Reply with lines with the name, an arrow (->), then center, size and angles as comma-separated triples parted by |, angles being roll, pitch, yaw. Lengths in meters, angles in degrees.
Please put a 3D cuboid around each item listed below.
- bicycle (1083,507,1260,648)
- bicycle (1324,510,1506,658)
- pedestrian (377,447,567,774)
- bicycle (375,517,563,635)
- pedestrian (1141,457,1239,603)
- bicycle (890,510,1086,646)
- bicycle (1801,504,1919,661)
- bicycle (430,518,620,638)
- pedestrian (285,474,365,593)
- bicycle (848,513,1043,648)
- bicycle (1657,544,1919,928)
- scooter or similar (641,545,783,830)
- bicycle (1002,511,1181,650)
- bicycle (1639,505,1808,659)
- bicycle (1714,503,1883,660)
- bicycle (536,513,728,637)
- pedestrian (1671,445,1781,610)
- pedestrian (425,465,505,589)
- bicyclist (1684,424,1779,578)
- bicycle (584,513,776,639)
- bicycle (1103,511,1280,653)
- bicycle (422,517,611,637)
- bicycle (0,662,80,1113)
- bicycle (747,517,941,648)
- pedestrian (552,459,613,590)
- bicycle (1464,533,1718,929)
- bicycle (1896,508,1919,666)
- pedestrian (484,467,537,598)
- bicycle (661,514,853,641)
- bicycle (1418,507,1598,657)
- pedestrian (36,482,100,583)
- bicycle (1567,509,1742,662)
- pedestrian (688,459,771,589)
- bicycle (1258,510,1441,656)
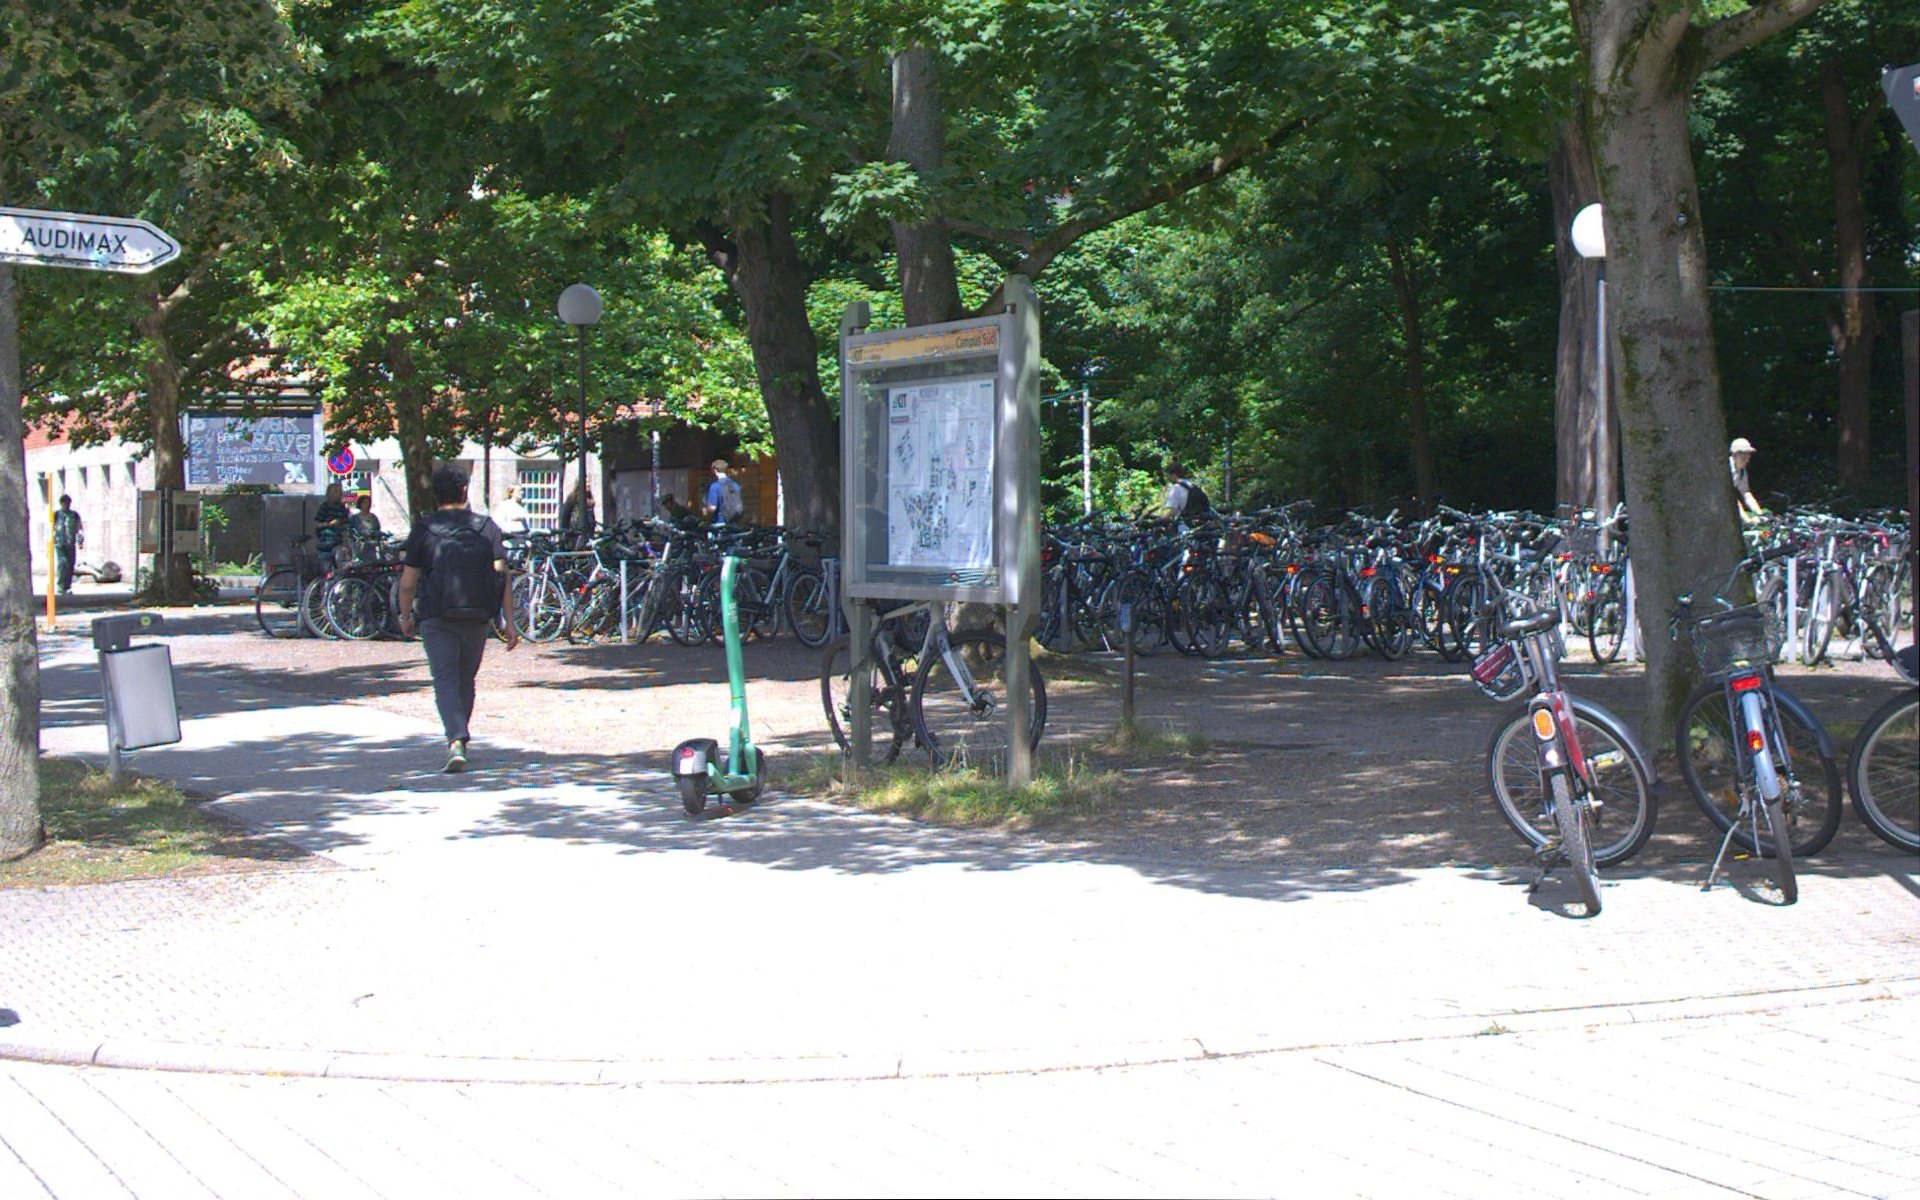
bicycle -> 1.760, -0.208, 28.322 | 0.502, 1.104, 2.027 | 2, 3, 34
bicycle -> 3.588, -0.145, 26.968 | 0.502, 1.104, 2.001 | 2, 3, 36
pedestrian -> -2.597, 0.037, 18.245 | 0.725, 1.678, 0.874 | -2, 2, -27
bicycle -> -4.821, -0.252, 33.892 | 0.502, 1.104, 2.026 | 2, 3, 39
pedestrian -> 2.816, -0.866, 42.133 | 0.768, 1.768, 0.907 | -2, 3, -41
bicycle -> 0.256, -0.203, 29.346 | 0.502, 1.104, 2.026 | 2, 3, 39
bicycle -> 6.826, -0.151, 25.351 | 0.502, 1.104, 1.903 | 2, 3, 36
bicycle -> -4.183, -0.227, 33.172 | 0.502, 1.104, 2.026 | 2, 3, 39
pedestrian -> -9.649, -1.020, 52.246 | 0.917, 1.768, 0.786 | -2, 3, -41
bicycle -> -0.106, -0.187, 29.755 | 0.502, 1.104, 2.026 | 2, 3, 39
bicycle -> 2.702, 0.403, 11.346 | 0.588, 1.104, 1.746 | -2, 2, 6
scooter or similar -> -1.084, 0.365, 15.200 | 0.292, 1.190, 1.185 | -1, 2, 12
bicycle -> 1.119, -0.180, 28.753 | 0.502, 1.104, 2.027 | 2, 3, 34
bicycle -> 5.769, -0.153, 25.908 | 0.502, 1.104, 1.903 | 2, 3, 36
bicycle -> 6.220, -0.160, 25.440 | 0.502, 1.104, 1.903 | 2, 3, 36
bicycle -> -3.053, -0.252, 32.144 | 0.502, 1.104, 2.026 | 2, 3, 39
pedestrian -> 8.296, -0.797, 37.254 | 0.767, 1.768, 0.907 | -1, 2, -23
pedestrian -> -7.162, -1.065, 49.743 | 0.768, 1.768, 0.907 | -2, 3, -41
bicyclist -> 7.935, -1.027, 35.355 | 0.721, 1.562, 0.594 | 2, 3, 44
bicycle -> -2.569, -0.237, 31.739 | 0.502, 1.104, 2.026 | 2, 3, 39
bicycle -> 1.920, -0.171, 28.212 | 0.502, 1.104, 2.027 | 2, 3, 34
bicycle -> -4.292, -0.239, 33.375 | 0.502, 1.104, 2.026 | 2, 3, 39
bicycle -> -3.376, 0.742, 8.924 | 2.067, 1.104, 0.604 | -1, 2, 17
bicycle -> -1.012, -0.175, 30.530 | 0.502, 1.104, 2.026 | 2, 3, 39
pedestrian -> -5.166, -1.039, 47.078 | 0.607, 1.768, 0.659 | -1, 3, -31
bicycle -> 2.051, 0.388, 11.338 | 0.637, 1.155, 1.630 | -2, 2, 5
bicycle -> 7.343, -0.115, 24.904 | 0.502, 1.104, 1.903 | 2, 3, 33
pedestrian -> -6.122, -0.929, 46.823 | 0.501, 1.765, 0.671 | -1, 2, -29
bicycle -> -1.832, -0.219, 31.340 | 0.502, 1.104, 2.026 | 2, 3, 39
bicycle -> 4.259, -0.159, 26.604 | 0.502, 1.104, 2.001 | 2, 3, 36
pedestrian -> -15.834, -1.200, 61.031 | 0.768, 1.768, 0.907 | -2, 3, -41
bicycle -> 5.308, -0.130, 26.196 | 0.502, 1.104, 2.001 | 2, 3, 36
pedestrian -> -3.223, -1.080, 48.093 | 0.768, 1.796, 0.907 | -2, 3, -41
bicycle -> 3.114, -0.154, 27.331 | 0.502, 1.104, 2.001 | 2, 3, 36
